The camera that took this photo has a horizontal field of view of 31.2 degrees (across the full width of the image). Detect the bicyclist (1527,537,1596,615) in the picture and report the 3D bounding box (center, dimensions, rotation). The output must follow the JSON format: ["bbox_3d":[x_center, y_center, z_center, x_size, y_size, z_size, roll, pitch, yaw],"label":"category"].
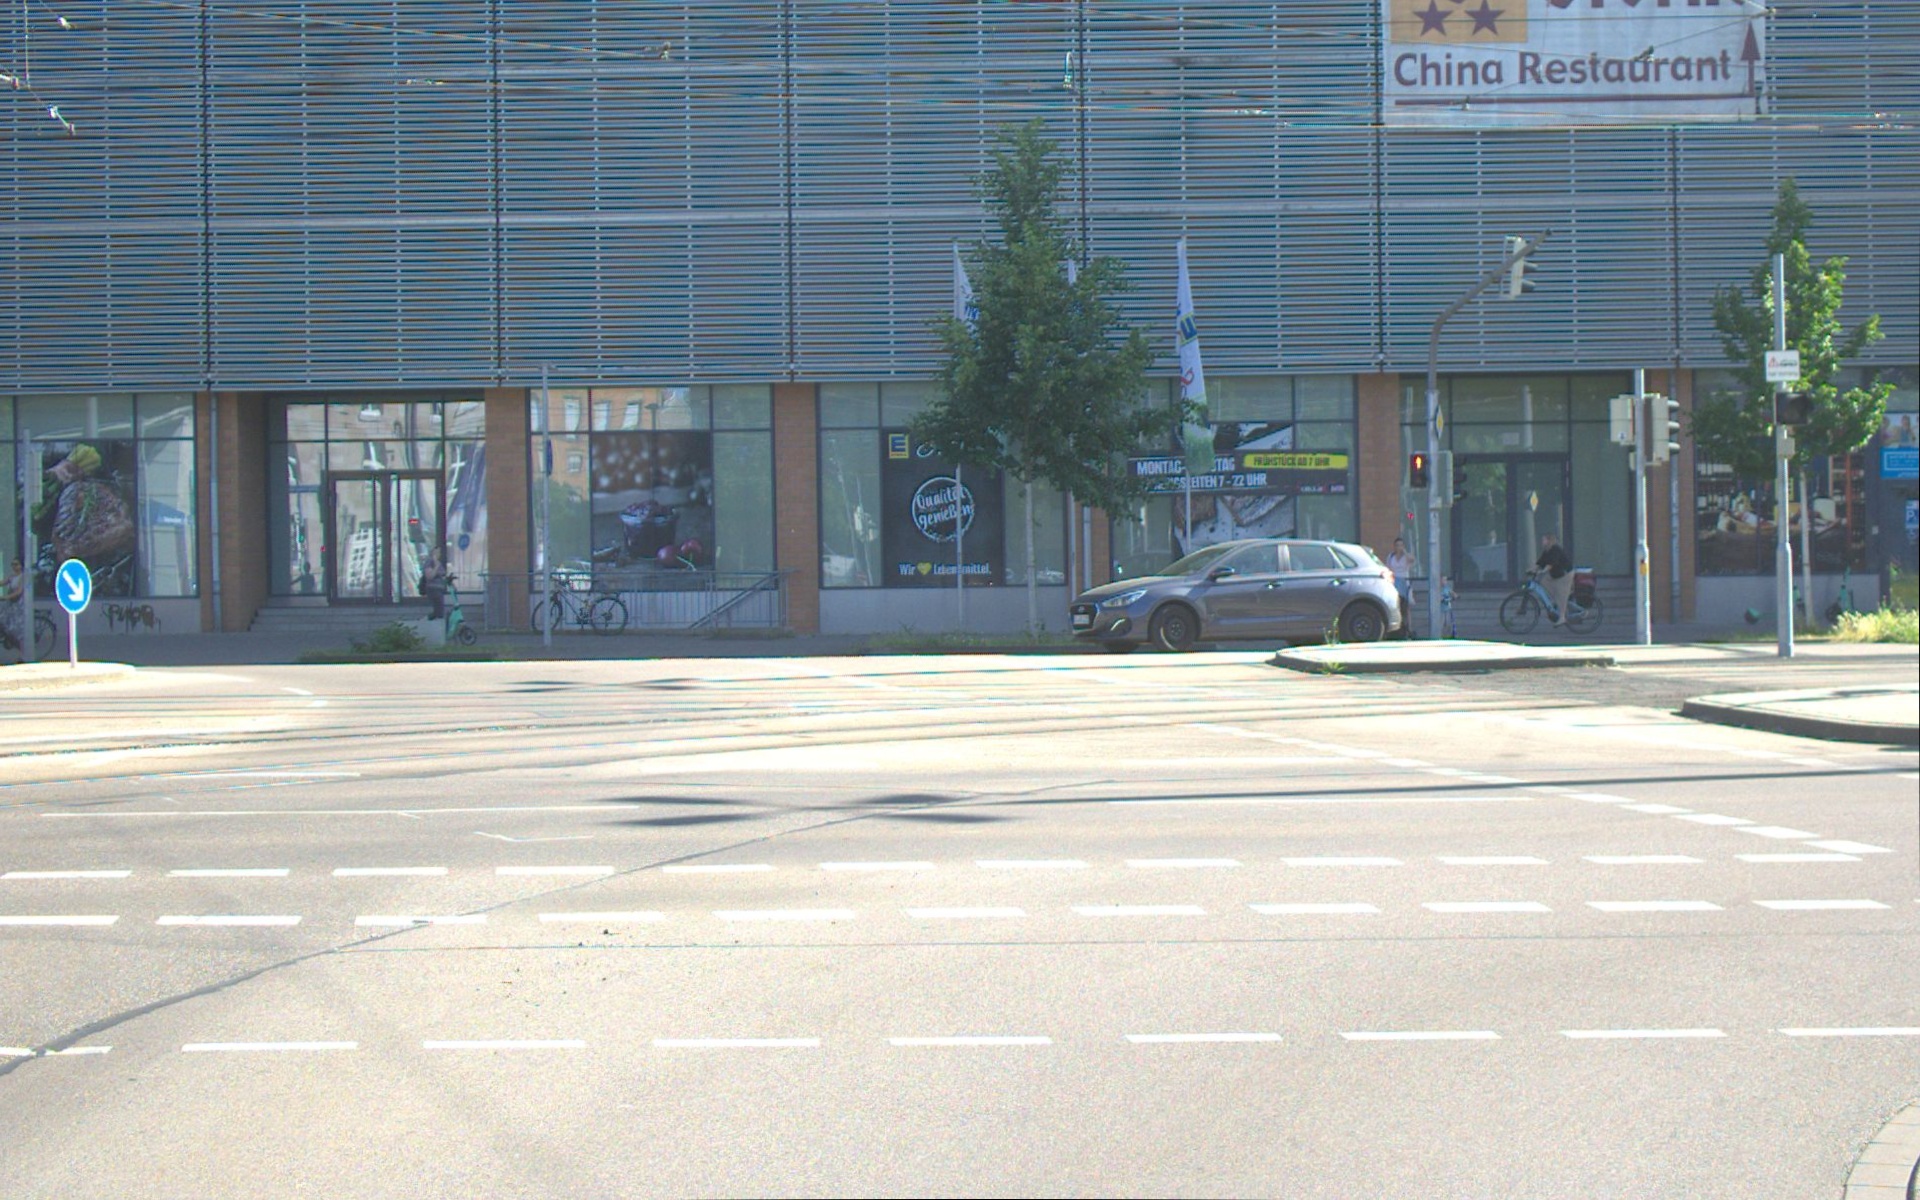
[{"bbox_3d":[10.231,-0.415,58.464,1.036,1.314,0.682,-1,1,-1],"label":"bicyclist"}]

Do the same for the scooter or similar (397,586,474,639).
[{"bbox_3d":[-8.591,0.198,56.331,1.223,0.848,0.301,-1,1,-3],"label":"scooter or similar"}]

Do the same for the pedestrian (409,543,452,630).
[{"bbox_3d":[-9.236,-0.239,59.974,0.647,1.514,0.491,-1,1,5],"label":"pedestrian"}]

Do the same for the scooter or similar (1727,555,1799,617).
[{"bbox_3d":[14.405,-0.252,61.694,1.202,1.099,0.277,1,0,2],"label":"scooter or similar"}]

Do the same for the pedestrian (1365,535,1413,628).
[{"bbox_3d":[6.932,-0.303,55.556,0.739,1.482,0.490,0,1,10],"label":"pedestrian"}]

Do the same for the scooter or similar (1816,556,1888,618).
[{"bbox_3d":[16.050,-0.230,61.879,1.202,1.099,0.277,1,0,2],"label":"scooter or similar"}]

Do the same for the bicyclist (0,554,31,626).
[{"bbox_3d":[-15.184,-0.155,54.792,0.562,1.136,0.560,-1,1,-33],"label":"bicyclist"}]

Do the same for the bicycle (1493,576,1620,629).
[{"bbox_3d":[10.137,0.042,58.471,2.041,0.864,0.682,-1,1,-1],"label":"bicycle"}]

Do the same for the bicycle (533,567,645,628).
[{"bbox_3d":[-6.534,-0.048,60.591,1.944,1.035,0.573,-1,1,-4],"label":"bicycle"}]

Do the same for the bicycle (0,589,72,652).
[{"bbox_3d":[-15.236,0.332,54.761,2.015,0.982,0.560,-1,1,-33],"label":"bicycle"}]

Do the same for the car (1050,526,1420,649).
[{"bbox_3d":[3.531,-0.176,44.298,4.294,1.494,2.001,-1,1,-19],"label":"car"}]
